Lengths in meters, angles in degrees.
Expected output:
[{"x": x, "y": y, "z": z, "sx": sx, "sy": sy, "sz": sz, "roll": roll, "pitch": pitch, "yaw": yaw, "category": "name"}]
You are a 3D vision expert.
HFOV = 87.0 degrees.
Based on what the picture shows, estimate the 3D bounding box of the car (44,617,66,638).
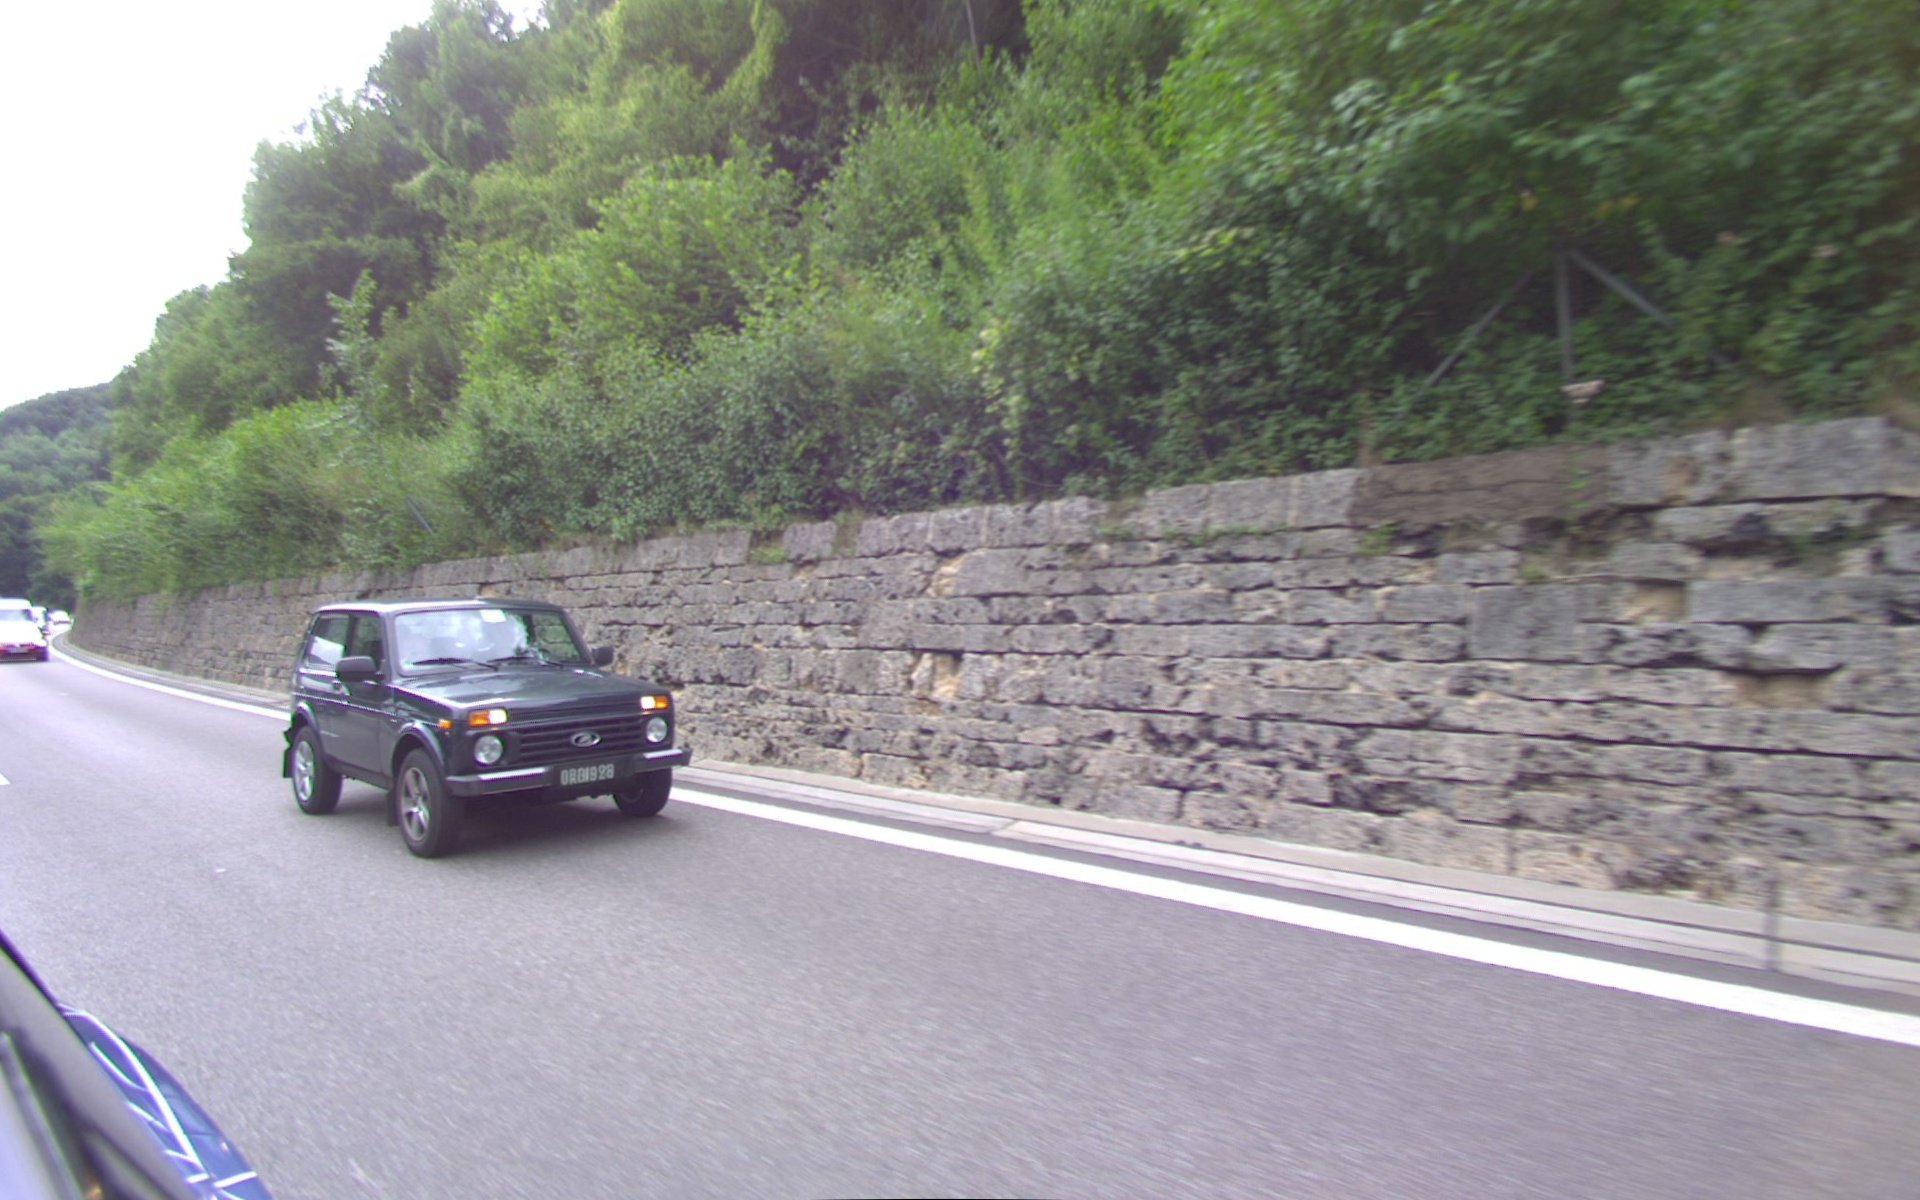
[{"x": -116.098, "y": 3.494, "z": 129.815, "sx": 1.946, "sy": 2.580, "sz": 4.590, "roll": 0, "pitch": -1, "yaw": -40, "category": "car"}]

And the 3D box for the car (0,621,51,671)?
[{"x": -34.677, "y": 1.657, "z": 37.148, "sx": 1.787, "sy": 1.668, "sz": 4.587, "roll": -2, "pitch": 0, "yaw": -44, "category": "car"}]

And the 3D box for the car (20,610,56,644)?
[{"x": -74.242, "y": 2.163, "z": 81.550, "sx": 1.946, "sy": 2.580, "sz": 4.590, "roll": 0, "pitch": -1, "yaw": -40, "category": "car"}]

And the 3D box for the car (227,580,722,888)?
[{"x": -3.921, "y": 0.763, "z": 7.724, "sx": 4.582, "sy": 1.668, "sz": 1.789, "roll": -2, "pitch": 0, "yaw": 42, "category": "car"}]

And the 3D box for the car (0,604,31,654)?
[{"x": -53.461, "y": 1.614, "z": 56.687, "sx": 1.948, "sy": 2.663, "sz": 4.587, "roll": 0, "pitch": -1, "yaw": -44, "category": "car"}]
